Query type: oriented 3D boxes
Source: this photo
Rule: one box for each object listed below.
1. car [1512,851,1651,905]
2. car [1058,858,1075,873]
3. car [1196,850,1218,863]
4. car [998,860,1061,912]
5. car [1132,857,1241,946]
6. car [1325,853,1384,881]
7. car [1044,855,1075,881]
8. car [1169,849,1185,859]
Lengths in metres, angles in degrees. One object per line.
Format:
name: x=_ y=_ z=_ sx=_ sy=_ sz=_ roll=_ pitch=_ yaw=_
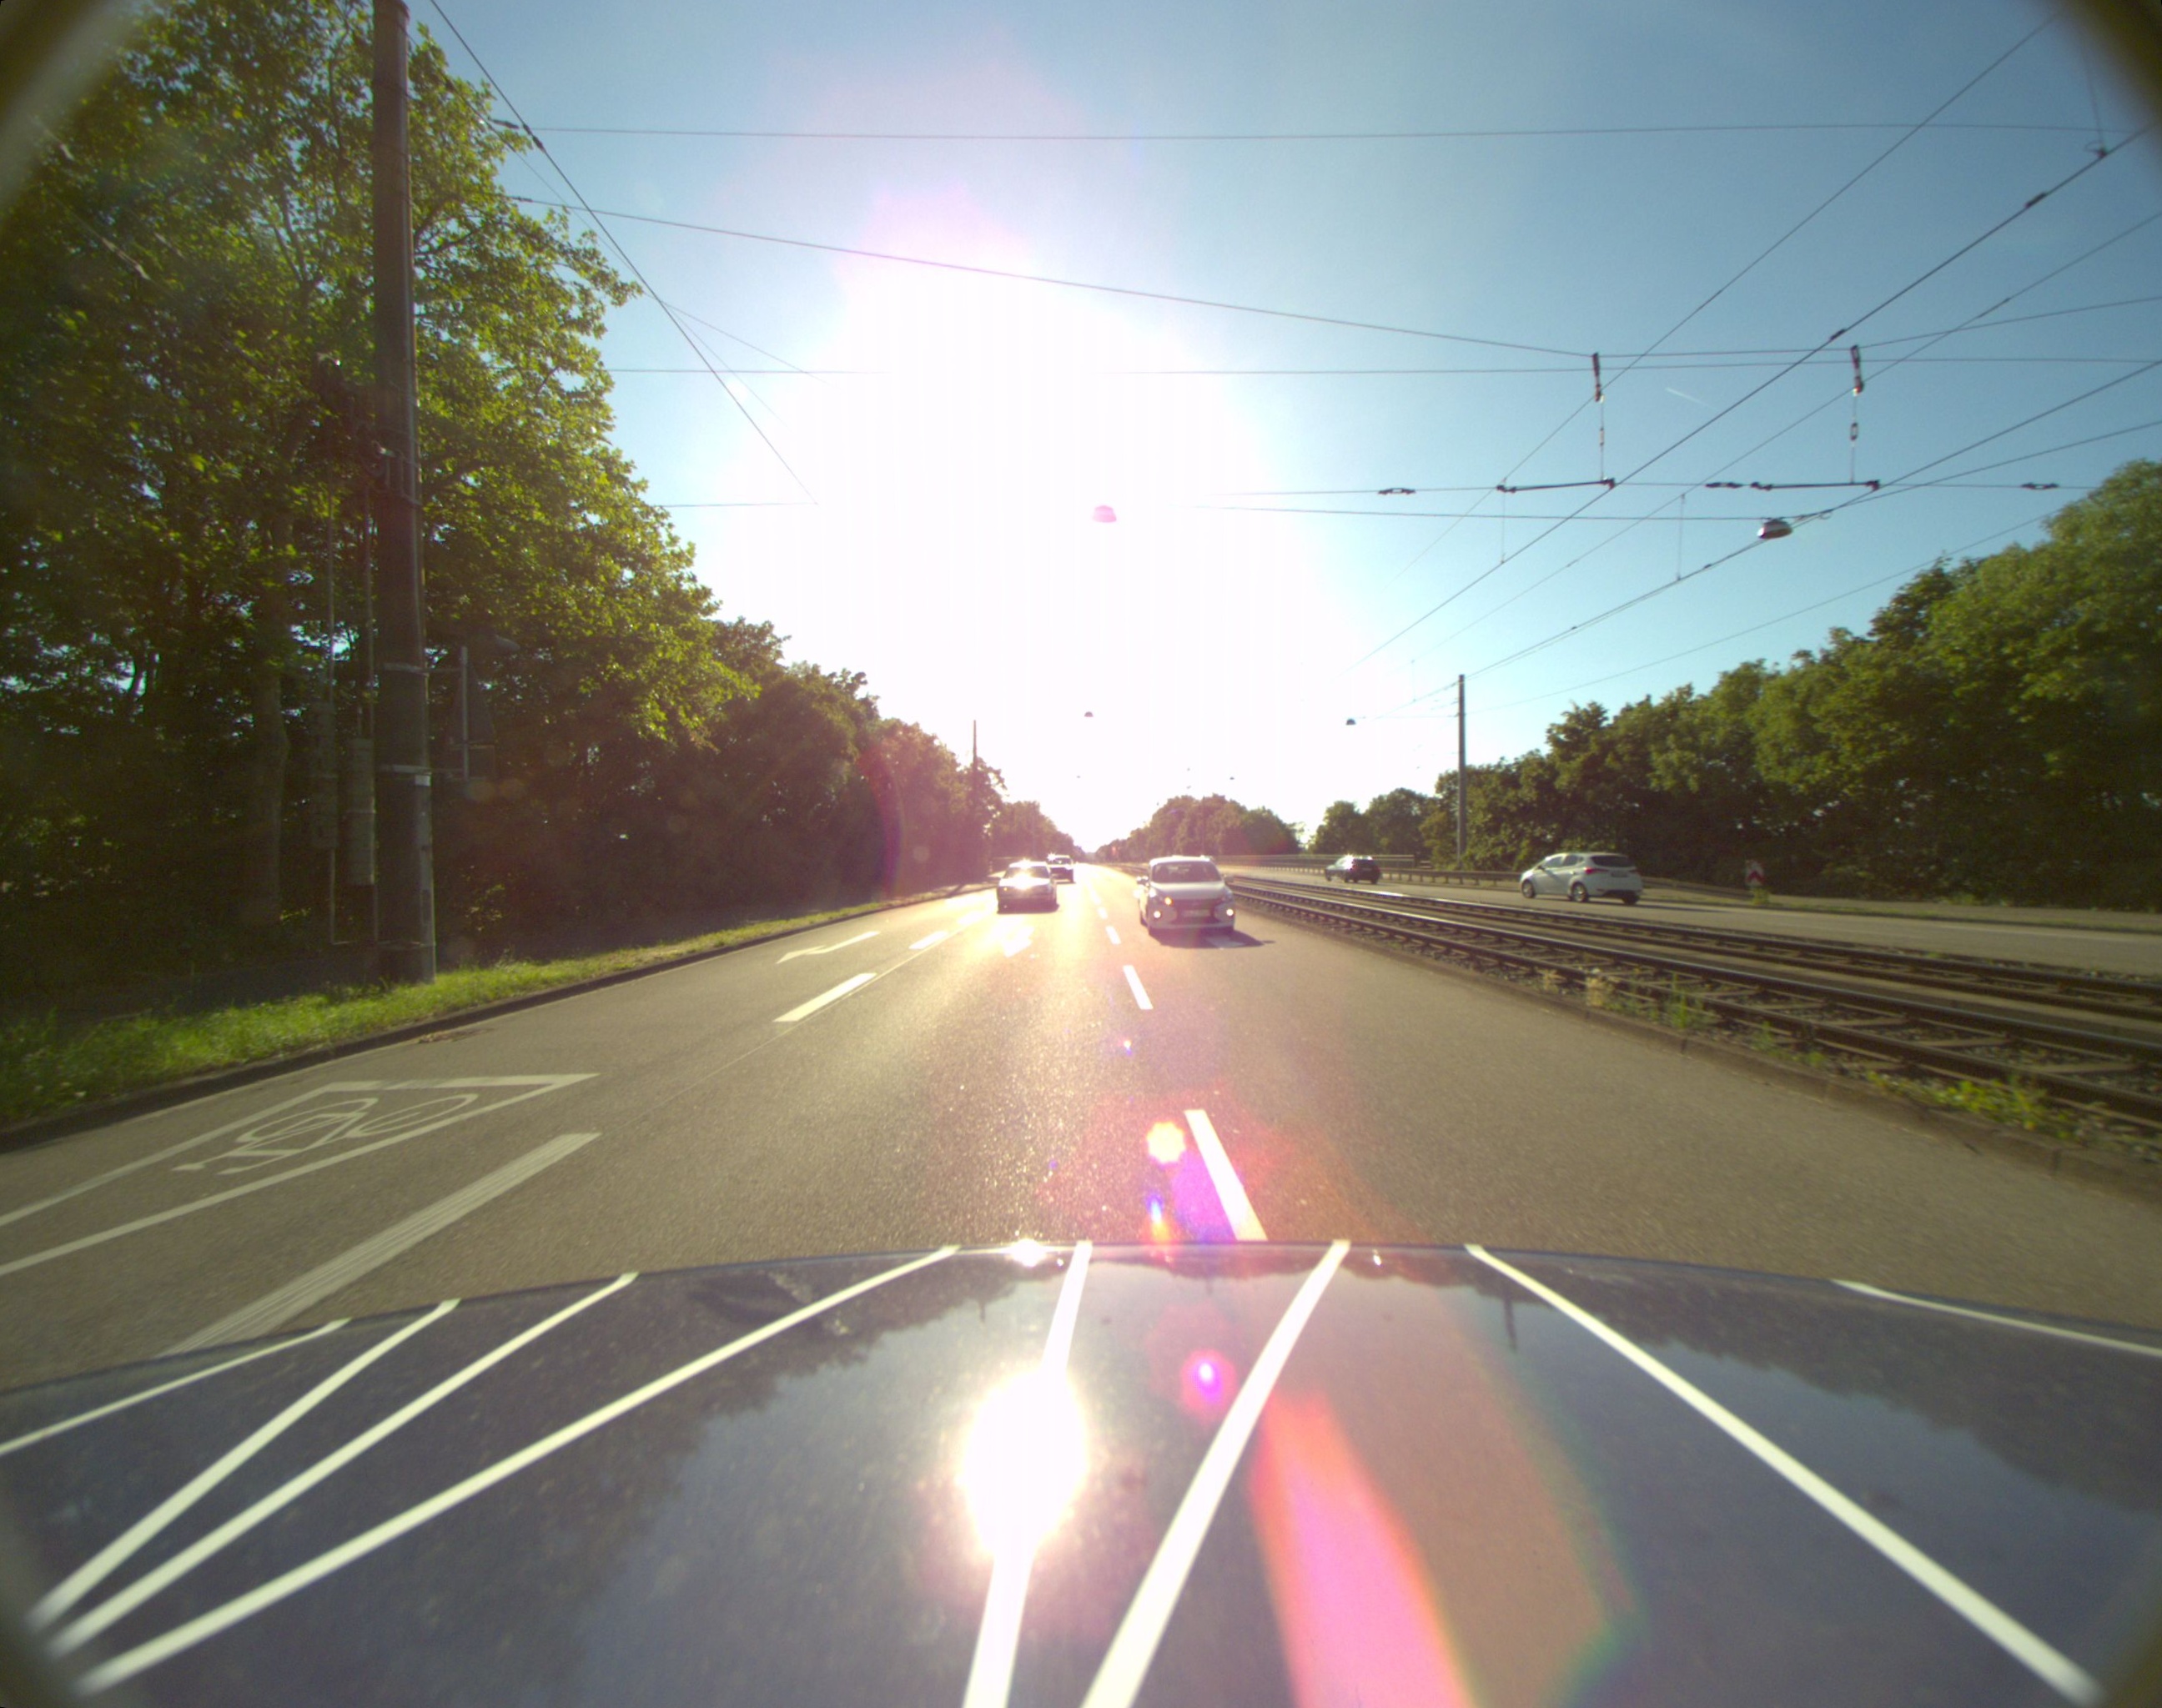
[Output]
car: x=16.145 y=0.710 z=24.781 sx=1.696 sy=1.547 sz=4.190 roll=1 pitch=1 yaw=-1
car: x=-1.726 y=1.346 z=90.073 sx=1.904 sy=1.512 sz=3.956 roll=-2 pitch=1 yaw=0
car: x=15.218 y=0.293 z=92.032 sx=1.759 sy=1.406 sz=4.876 roll=1 pitch=1 yaw=-2
car: x=-1.590 y=0.978 z=24.685 sx=1.693 sy=1.409 sz=4.134 roll=-2 pitch=1 yaw=0
car: x=2.044 y=0.878 z=15.703 sx=1.709 sy=1.503 sz=3.862 roll=-2 pitch=1 yaw=0
car: x=15.226 y=0.700 z=42.571 sx=1.661 sy=1.424 sz=4.501 roll=1 pitch=1 yaw=0
car: x=-1.313 y=0.838 z=47.209 sx=1.709 sy=1.512 sz=3.844 roll=-2 pitch=1 yaw=0
car: x=14.743 y=-0.008 z=117.135 sx=1.713 sy=1.571 sz=4.800 roll=0 pitch=1 yaw=-1
